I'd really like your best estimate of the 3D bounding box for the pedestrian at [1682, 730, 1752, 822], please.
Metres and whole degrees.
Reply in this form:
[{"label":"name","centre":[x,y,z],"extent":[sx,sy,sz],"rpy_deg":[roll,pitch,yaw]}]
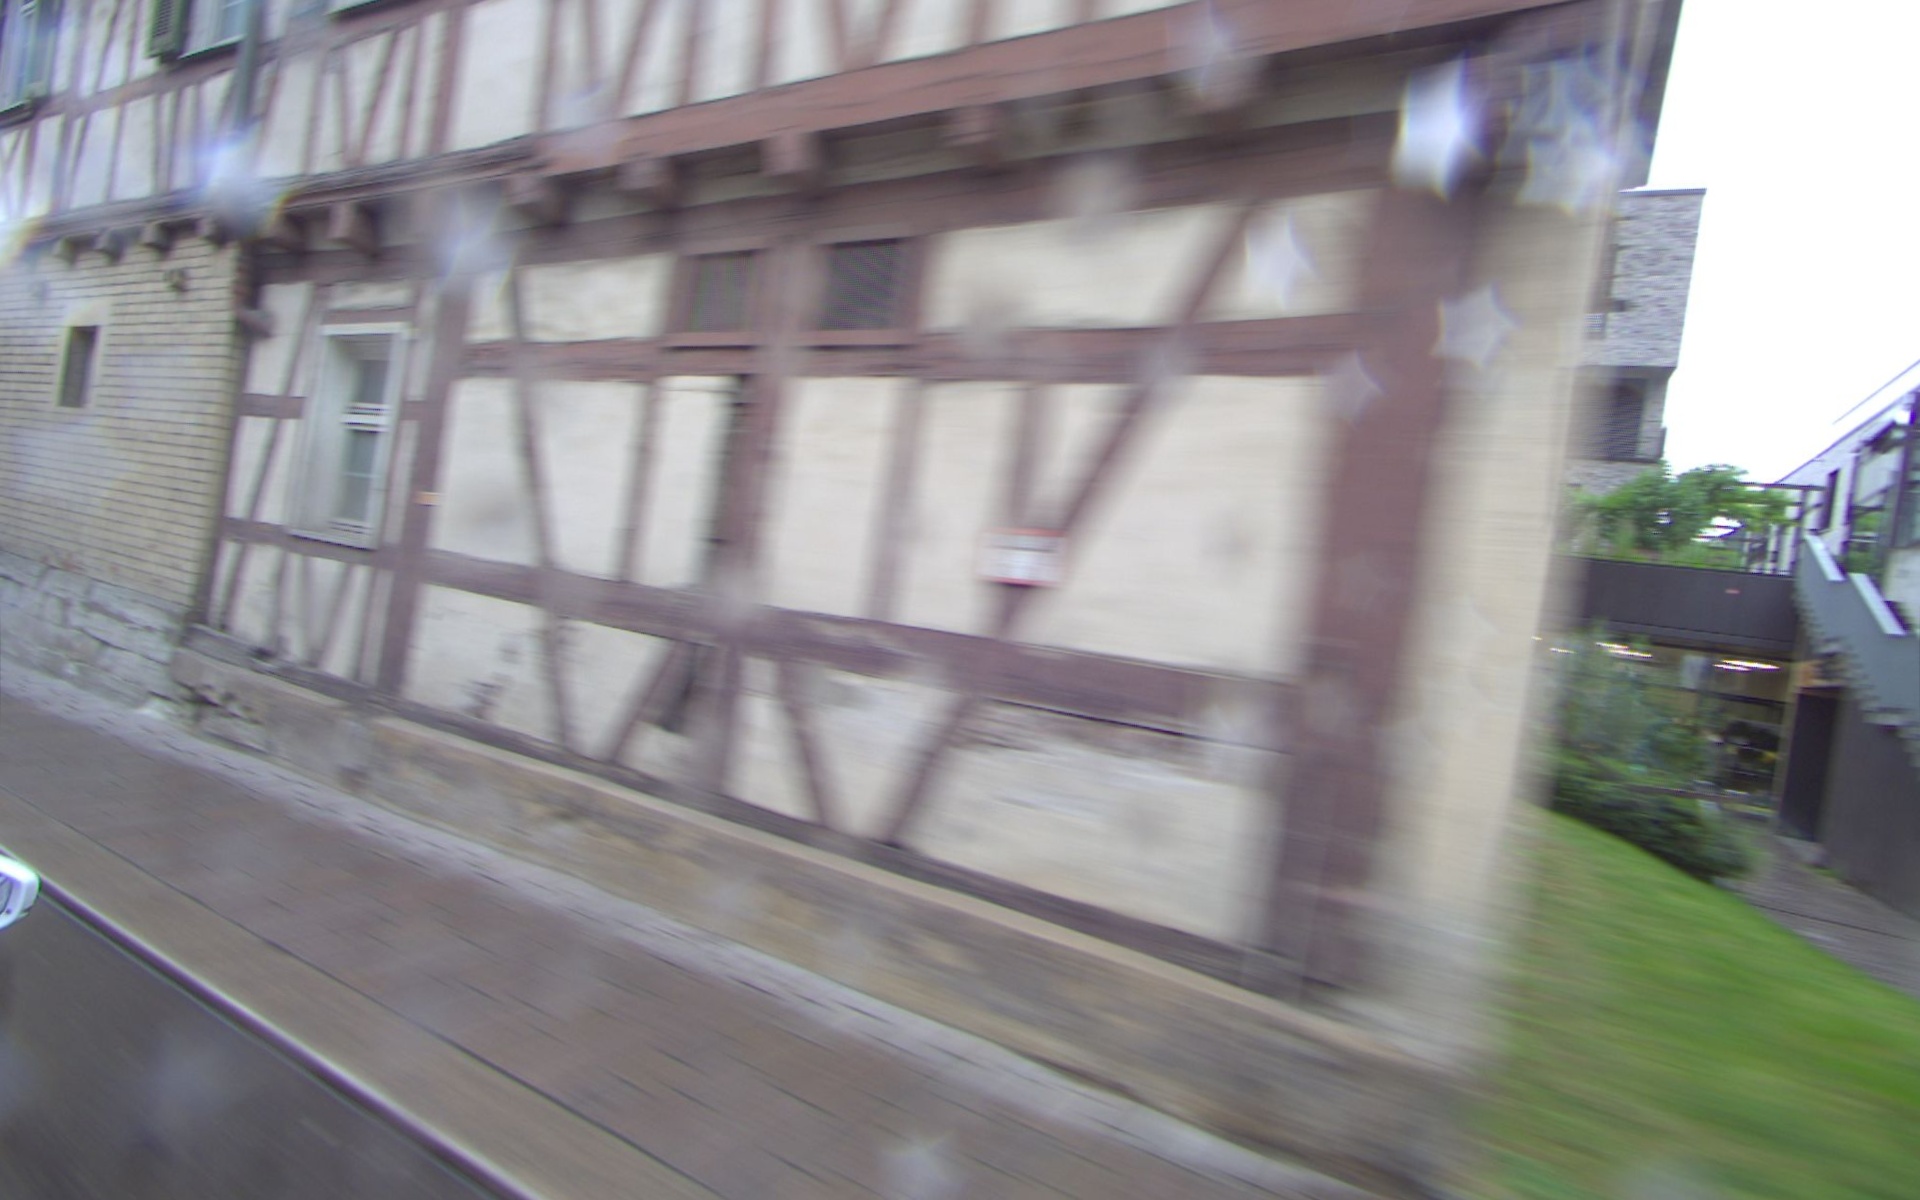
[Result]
[{"label":"pedestrian","centre":[14.625,3.378,19.448],"extent":[0.727,1.580,0.674],"rpy_deg":[7,2,18]}]
